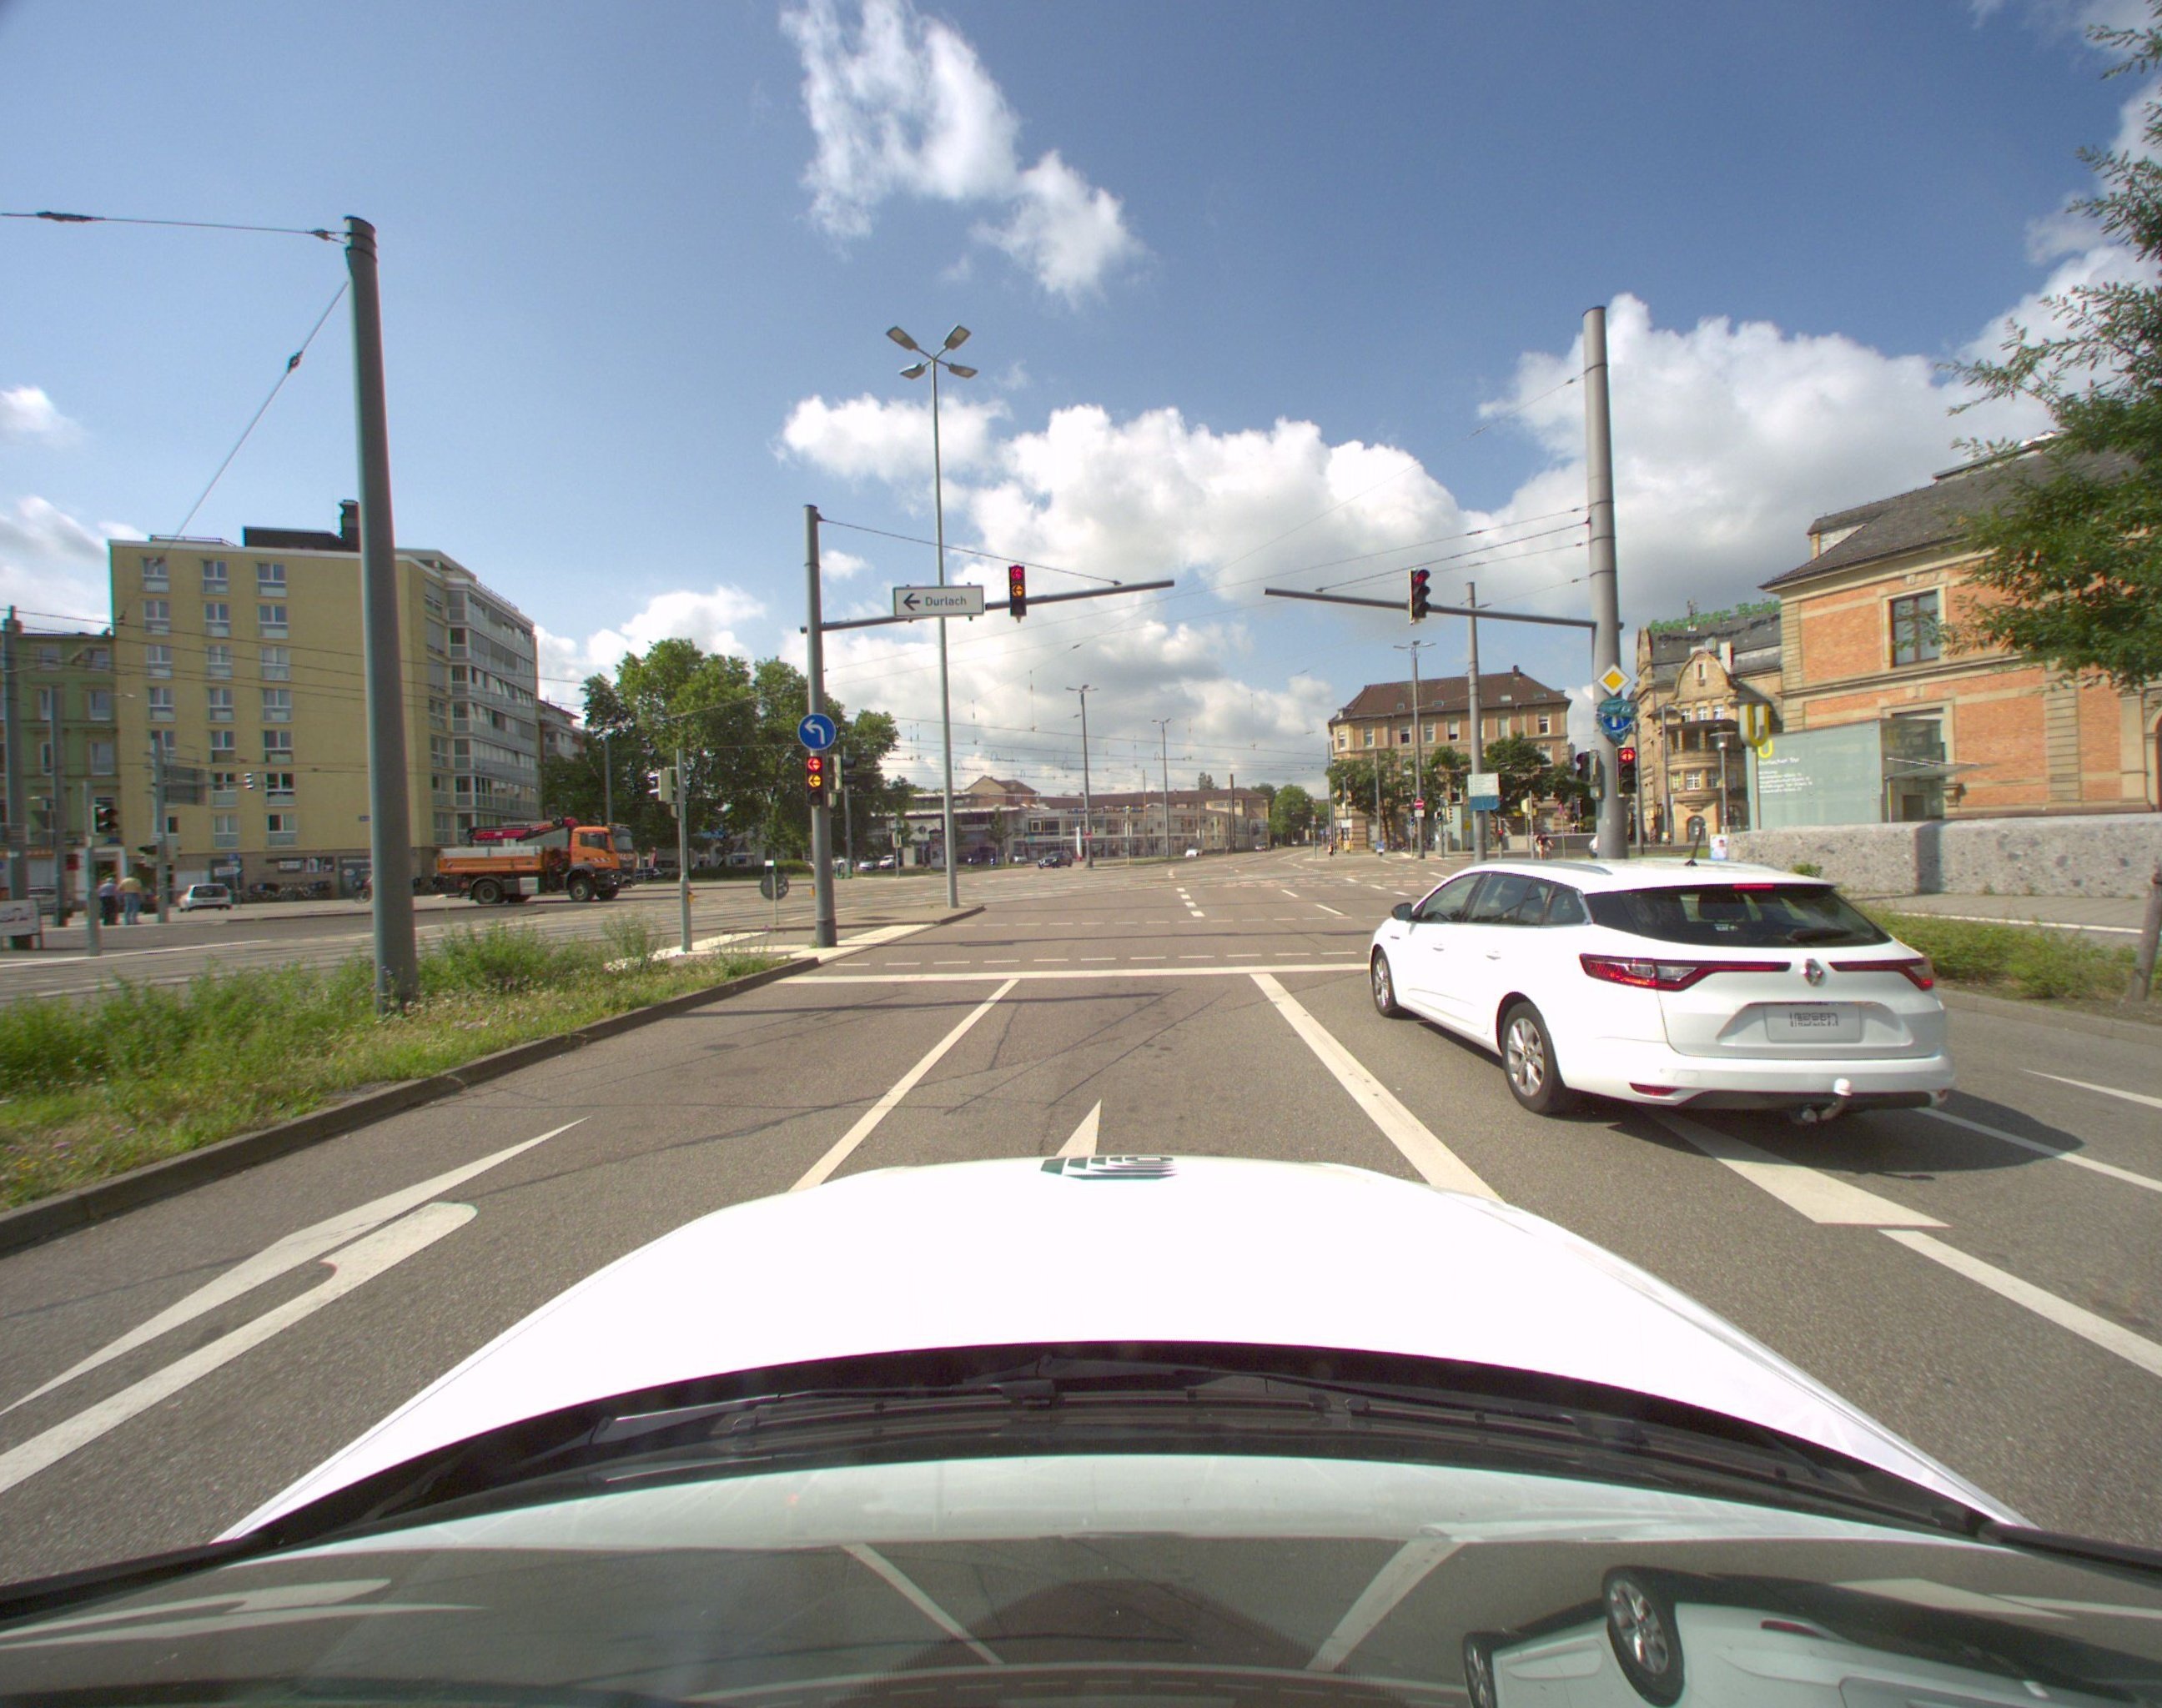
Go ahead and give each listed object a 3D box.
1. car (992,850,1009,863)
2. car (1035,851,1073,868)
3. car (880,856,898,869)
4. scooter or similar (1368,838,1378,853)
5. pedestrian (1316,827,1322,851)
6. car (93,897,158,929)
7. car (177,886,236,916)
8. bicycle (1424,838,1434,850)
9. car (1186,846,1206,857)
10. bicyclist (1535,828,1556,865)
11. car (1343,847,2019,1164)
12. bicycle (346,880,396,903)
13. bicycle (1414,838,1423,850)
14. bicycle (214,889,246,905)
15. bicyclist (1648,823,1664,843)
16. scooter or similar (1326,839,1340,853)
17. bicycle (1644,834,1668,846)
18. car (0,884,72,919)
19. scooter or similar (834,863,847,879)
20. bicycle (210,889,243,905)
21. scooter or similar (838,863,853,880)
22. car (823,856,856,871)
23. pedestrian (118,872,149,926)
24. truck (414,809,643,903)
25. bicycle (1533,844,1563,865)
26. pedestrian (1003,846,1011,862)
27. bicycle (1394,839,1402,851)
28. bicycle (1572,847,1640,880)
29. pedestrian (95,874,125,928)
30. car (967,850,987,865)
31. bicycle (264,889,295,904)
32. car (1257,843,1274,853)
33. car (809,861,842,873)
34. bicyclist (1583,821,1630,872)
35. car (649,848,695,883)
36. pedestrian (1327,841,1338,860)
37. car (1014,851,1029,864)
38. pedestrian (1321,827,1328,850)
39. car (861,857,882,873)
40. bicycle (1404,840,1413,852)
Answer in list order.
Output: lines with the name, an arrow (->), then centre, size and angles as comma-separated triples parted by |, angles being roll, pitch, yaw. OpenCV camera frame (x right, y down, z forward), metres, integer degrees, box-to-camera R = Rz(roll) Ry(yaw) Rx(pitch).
car -> -10.573, 0.357, 106.824 | 1.989, 1.725, 3.996 | 0, -1, -3
car -> -2.306, 0.477, 70.788 | 1.848, 1.376, 3.962 | -2, 0, 22
car -> -25.646, 1.147, 108.721 | 1.783, 1.682, 3.993 | -2, 0, -5
scooter or similar -> 30.380, -0.883, 84.761 | 0.870, 1.482, 2.024 | -2, 0, 18
pedestrian -> 32.211, -2.032, 110.215 | 0.659, 3.120, 0.893 | -1, -1, 27
car -> -50.787, 3.125, 43.263 | 4.540, 1.460, 1.951 | -3, -1, 37
car -> -47.843, 2.575, 44.542 | 3.451, 1.453, 1.790 | -4, -1, 36
bicycle -> 35.681, -1.032, 83.541 | 0.752, 1.165, 2.699 | -2, 0, 20
car -> 15.724, -0.340, 111.466 | 1.670, 1.470, 3.677 | -1, -1, 25
bicyclist -> 21.806, -0.355, 38.220 | 0.573, 1.672, 0.941 | -3, 0, 16
car -> 3.473, 0.712, 6.052 | 1.750, 1.429, 4.678 | 0, -1, 3
bicycle -> -39.201, 2.053, 44.989 | 0.539, 1.106, 2.108 | -2, 0, 14
bicycle -> 34.763, -1.001, 83.866 | 0.752, 1.165, 2.699 | -2, 0, 21
bicycle -> -54.229, 2.724, 51.913 | 1.463, 0.922, 0.291 | -2, 0, -17
bicyclist -> 51.411, -1.863, 72.800 | 1.150, 1.674, 0.610 | -3, 1, -24
scooter or similar -> 26.784, -0.838, 86.624 | 1.168, 1.386, 2.813 | -1, -1, 12
bicycle -> 51.444, -1.289, 72.882 | 1.779, 0.956, 0.841 | -3, -1, -19
car -> -54.184, 2.428, 42.120 | 4.536, 1.647, 2.075 | -2, 0, 34
scooter or similar -> -17.682, 1.261, 59.821 | 1.051, 1.196, 0.384 | -1, -1, 40
bicycle -> -54.147, 2.736, 51.606 | 1.463, 0.922, 0.291 | -1, -1, -17
scooter or similar -> -17.457, 1.304, 60.385 | 1.051, 1.196, 0.384 | -1, -1, 29
car -> -34.283, 1.380, 115.649 | 3.965, 2.014, 2.004 | 0, -1, 8
pedestrian -> -35.959, 1.697, 30.908 | 0.579, 2.013, 0.423 | -2, 0, -25
truck -> -24.620, 0.054, 36.699 | 8.042, 4.009, 2.828 | 0, -1, -9
bicycle -> 21.836, 0.033, 38.089 | 0.753, 0.875, 1.817 | -5, 0, 16
pedestrian -> -9.533, -0.019, 104.842 | 0.868, 2.013, 0.702 | -2, 0, -5
bicycle -> 32.900, -0.909, 84.559 | 0.752, 1.165, 2.699 | -2, 0, 20
bicycle -> 15.527, 0.257, 24.143 | 0.648, 0.897, 2.278 | -2, 0, 4
pedestrian -> -36.756, 1.771, 30.817 | 0.516, 2.013, 0.499 | -2, 0, -25
car -> -13.706, 0.496, 107.487 | 1.988, 1.838, 3.998 | -3, 0, -1
bicycle -> -51.588, 2.719, 52.417 | 1.461, 0.922, 0.292 | 0, -1, -14
car -> 30.174, -1.031, 133.052 | 1.976, 1.574, 3.758 | -2, 0, 24
car -> -32.471, 1.633, 103.543 | 3.654, 1.488, 1.674 | 0, 0, 3
bicyclist -> 15.583, -0.210, 24.182 | 0.631, 1.457, 1.171 | -2, 0, 4
car -> -37.809, 1.051, 75.551 | 1.995, 3.043, 7.217 | -2, 0, -12
pedestrian -> 20.246, -0.305, 65.535 | 0.733, 1.516, 0.548 | -2, 0, 26
car -> -7.909, 0.424, 108.567 | 1.926, 1.683, 3.991 | 0, -1, -6
pedestrian -> 32.879, -2.040, 109.859 | 0.718, 3.076, 0.893 | -1, -1, 27
car -> -27.866, 1.468, 108.438 | 1.990, 2.014, 3.992 | 1, -1, -5
bicycle -> 33.822, -0.800, 84.214 | 0.752, 1.165, 2.699 | -2, 0, 20
